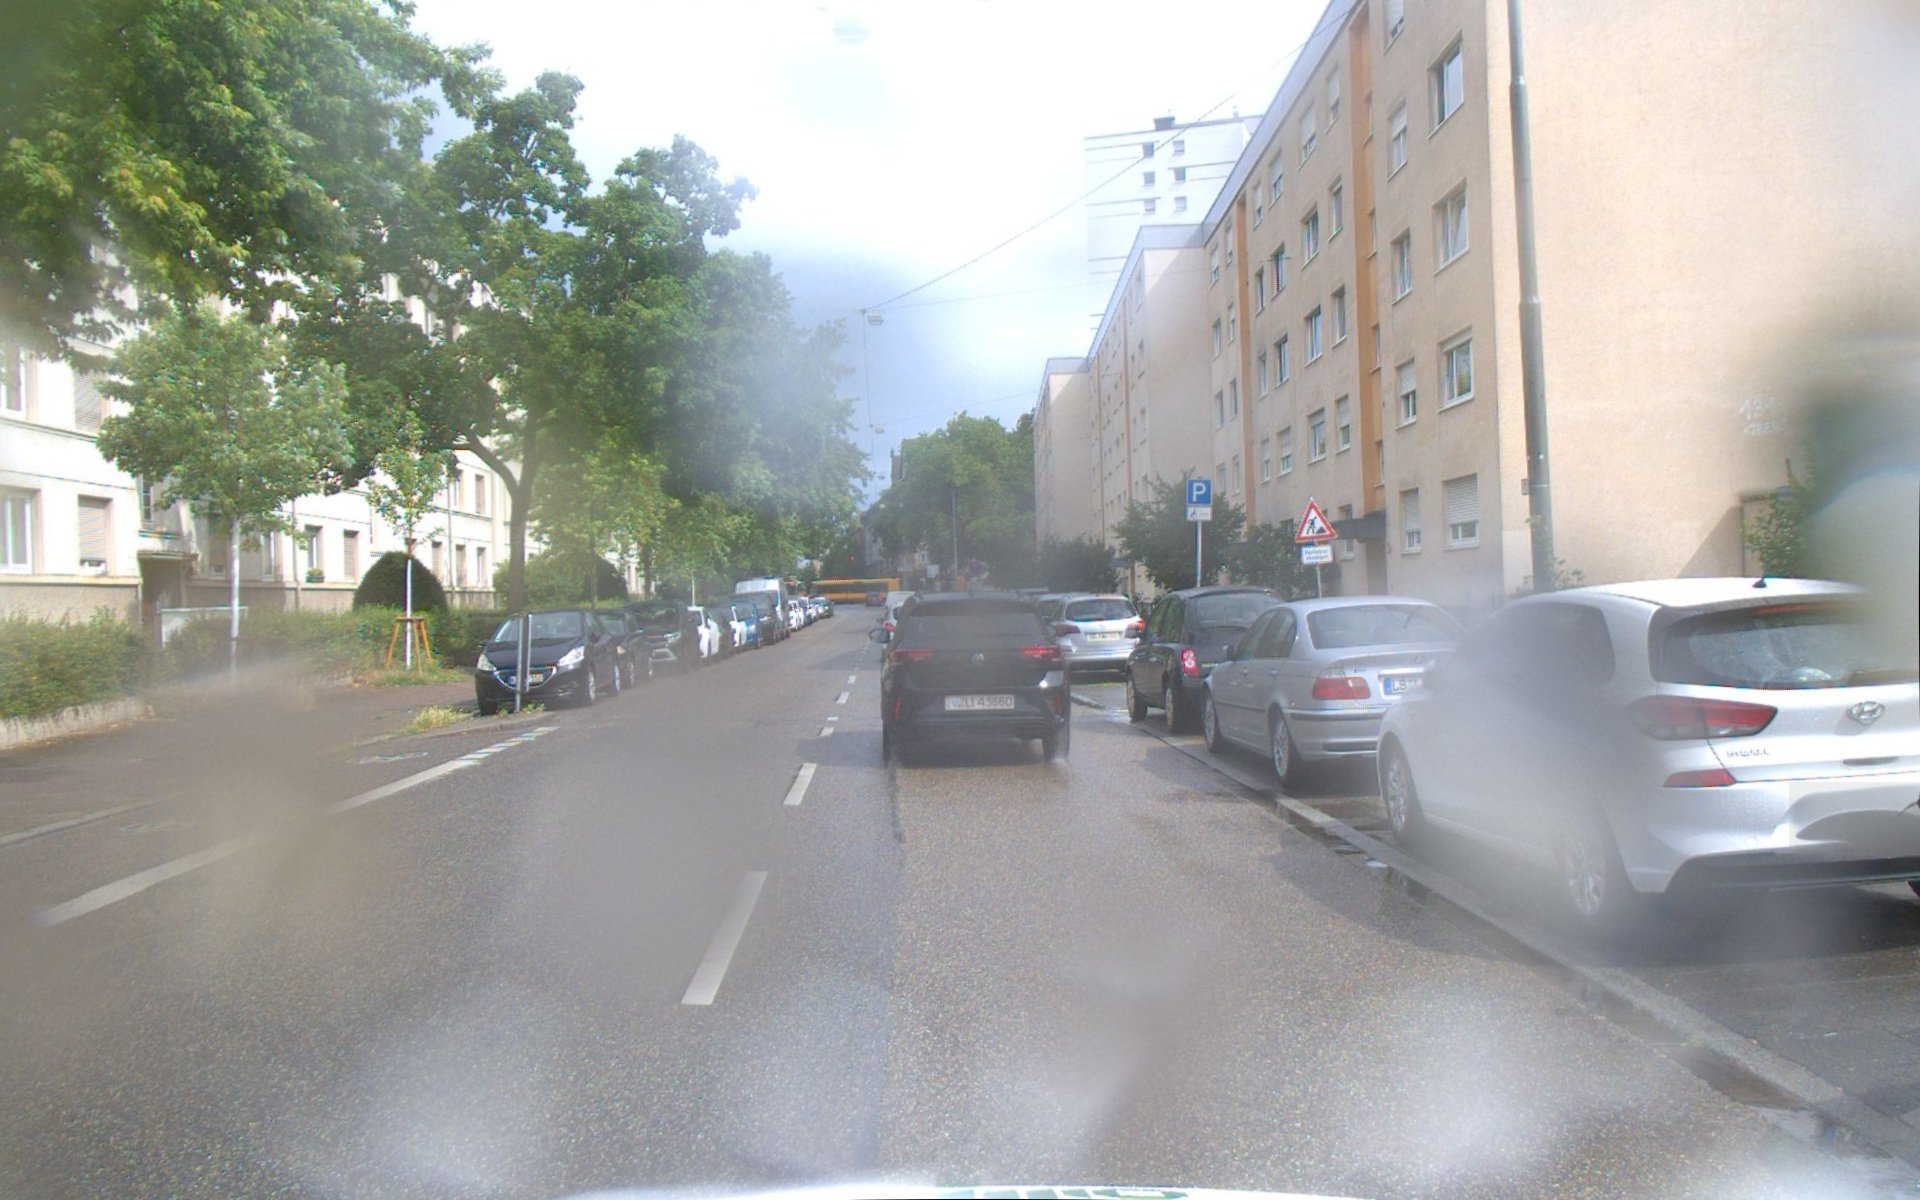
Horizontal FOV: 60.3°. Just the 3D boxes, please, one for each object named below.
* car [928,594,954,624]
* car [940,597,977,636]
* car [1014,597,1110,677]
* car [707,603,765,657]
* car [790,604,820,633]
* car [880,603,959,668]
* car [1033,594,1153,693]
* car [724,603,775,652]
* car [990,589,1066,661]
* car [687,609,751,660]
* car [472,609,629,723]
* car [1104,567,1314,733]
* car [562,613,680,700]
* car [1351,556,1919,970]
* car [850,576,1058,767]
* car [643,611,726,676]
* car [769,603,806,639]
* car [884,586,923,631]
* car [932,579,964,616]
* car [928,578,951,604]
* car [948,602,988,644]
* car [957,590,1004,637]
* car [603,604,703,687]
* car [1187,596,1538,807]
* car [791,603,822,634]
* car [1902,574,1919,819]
[{"bbox_3d":[-1.260,0.588,109.249,1.632,1.870,3.999,-3,0,-1],"label":"car"},{"bbox_3d":[-0.112,0.811,82.987,1.572,1.796,4.030,-3,0,-3],"label":"car"},{"bbox_3d":[2.131,0.762,35.576,1.572,1.532,4.030,-3,0,-3],"label":"car"},{"bbox_3d":[-7.514,0.992,55.754,1.554,1.668,3.917,-3,0,-3],"label":"car"},{"bbox_3d":[-9.390,1.108,100.450,1.554,1.668,3.917,-3,0,-3],"label":"car"},{"bbox_3d":[-0.963,0.876,41.250,1.776,1.529,4.000,0,-1,1],"label":"car"},{"bbox_3d":[2.312,0.730,29.682,1.661,1.565,4.031,-3,0,-1],"label":"car"},{"bbox_3d":[-7.777,1.005,61.395,1.554,1.668,3.917,-3,0,-3],"label":"car"},{"bbox_3d":[1.738,0.629,43.315,1.572,1.701,4.030,-3,0,-3],"label":"car"},{"bbox_3d":[-7.425,1.035,51.291,1.554,1.442,3.917,-3,0,-3],"label":"car"},{"bbox_3d":[-6.232,0.948,25.569,1.554,1.532,4.062,-3,0,-3],"label":"car"},{"bbox_3d":[2.730,0.497,18.970,1.572,1.690,4.029,0,0,-3],"label":"car"},{"bbox_3d":[-6.332,1.013,31.249,1.554,1.442,4.050,-3,0,-3],"label":"car"},{"bbox_3d":[3.421,0.665,8.357,1.714,1.534,4.109,-2,-2,-3],"label":"car"},{"bbox_3d":[-0.019,0.632,16.592,1.834,1.674,4.062,0,0,1],"label":"car"},{"bbox_3d":[-6.785,1.034,41.011,1.554,1.442,3.917,-3,0,-3],"label":"car"},{"bbox_3d":[-8.497,1.028,81.578,1.554,1.668,3.917,-3,0,-3],"label":"car"},{"bbox_3d":[-2.771,0.444,82.369,1.799,2.140,3.999,0,-1,0],"label":"car"},{"bbox_3d":[-0.674,-0.130,89.679,1.632,1.870,3.999,-3,0,-1],"label":"car"},{"bbox_3d":[-1.578,-0.704,127.607,1.632,1.870,3.999,-3,0,-1],"label":"car"},{"bbox_3d":[0.330,1.027,76.555,1.572,1.796,4.030,-3,0,-3],"label":"car"},{"bbox_3d":[0.799,0.534,67.055,1.572,1.796,4.030,-3,0,-3],"label":"car"},{"bbox_3d":[-6.564,0.923,35.736,1.554,1.603,4.011,-3,0,-3],"label":"car"},{"bbox_3d":[3.158,0.726,13.874,1.682,1.478,4.256,0,0,-3],"label":"car"},{"bbox_3d":[-8.852,1.035,95.776,1.554,1.668,3.917,-3,0,-3],"label":"car"},{"bbox_3d":[3.477,0.619,2.505,1.572,1.534,4.159,-4,-1,-1],"label":"car"}]
